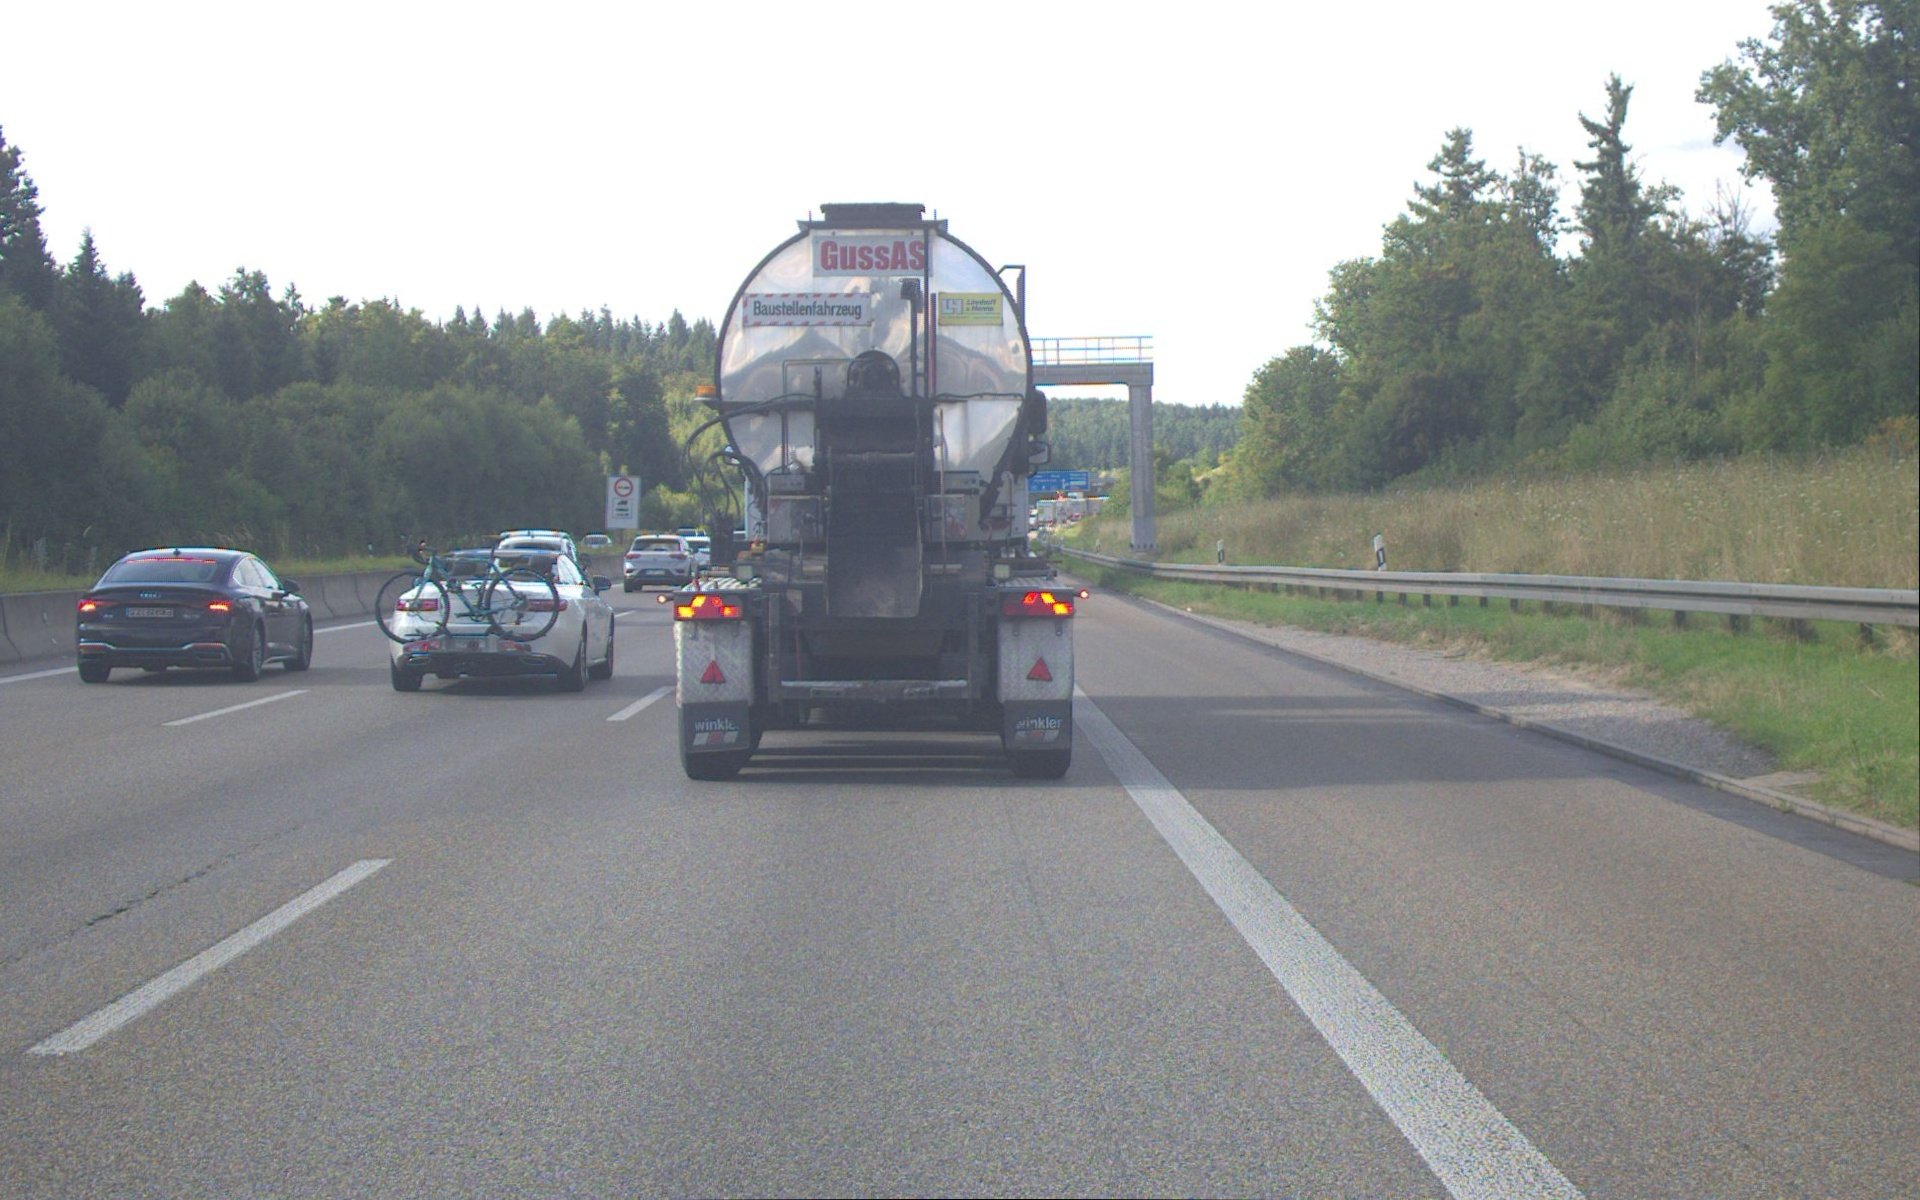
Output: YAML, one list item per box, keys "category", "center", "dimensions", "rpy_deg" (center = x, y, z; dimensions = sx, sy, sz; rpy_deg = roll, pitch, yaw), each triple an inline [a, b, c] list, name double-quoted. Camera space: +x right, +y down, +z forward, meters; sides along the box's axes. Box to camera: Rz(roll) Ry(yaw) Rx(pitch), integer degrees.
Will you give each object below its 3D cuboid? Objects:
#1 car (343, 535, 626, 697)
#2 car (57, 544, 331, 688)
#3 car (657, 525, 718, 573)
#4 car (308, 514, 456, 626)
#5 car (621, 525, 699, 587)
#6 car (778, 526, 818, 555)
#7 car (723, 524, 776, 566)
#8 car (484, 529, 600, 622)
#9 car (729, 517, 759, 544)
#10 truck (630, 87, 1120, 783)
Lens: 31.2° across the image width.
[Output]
- category: "car"
  center: [-4.657, 0.093, 34.512]
  dimensions: [2.060, 1.494, 5.736]
  rpy_deg: [0, 1, 0]
- category: "car"
  center: [-8.086, 0.123, 36.713]
  dimensions: [1.856, 1.426, 4.841]
  rpy_deg: [0, 1, 0]
- category: "car"
  center: [-9.361, -1.773, 118.325]
  dimensions: [1.806, 1.580, 4.207]
  rpy_deg: [0, 2, -1]
- category: "car"
  center: [-9.435, -0.517, 56.411]
  dimensions: [1.845, 1.777, 4.000]
  rpy_deg: [0, 1, -1]
- category: "car"
  center: [-8.075, -1.207, 92.780]
  dimensions: [1.806, 1.580, 4.207]
  rpy_deg: [0, 2, -1]
- category: "car"
  center: [-8.569, -3.159, 181.992]
  dimensions: [1.942, 1.451, 4.207]
  rpy_deg: [0, 2, -1]
- category: "car"
  center: [-8.416, -2.213, 137.668]
  dimensions: [1.942, 1.580, 4.207]
  rpy_deg: [0, 2, -1]
- category: "car"
  center: [-7.201, -0.441, 59.529]
  dimensions: [1.618, 1.539, 3.520]
  rpy_deg: [0, 1, -1]
- category: "car"
  center: [-15.612, -5.034, 249.031]
  dimensions: [1.993, 2.007, 4.072]
  rpy_deg: [0, 1, -1]
- category: "truck"
  center: [-0.512, -1.098, 26.109]
  dimensions: [2.912, 4.143, 11.270]
  rpy_deg: [0, 1, 0]
